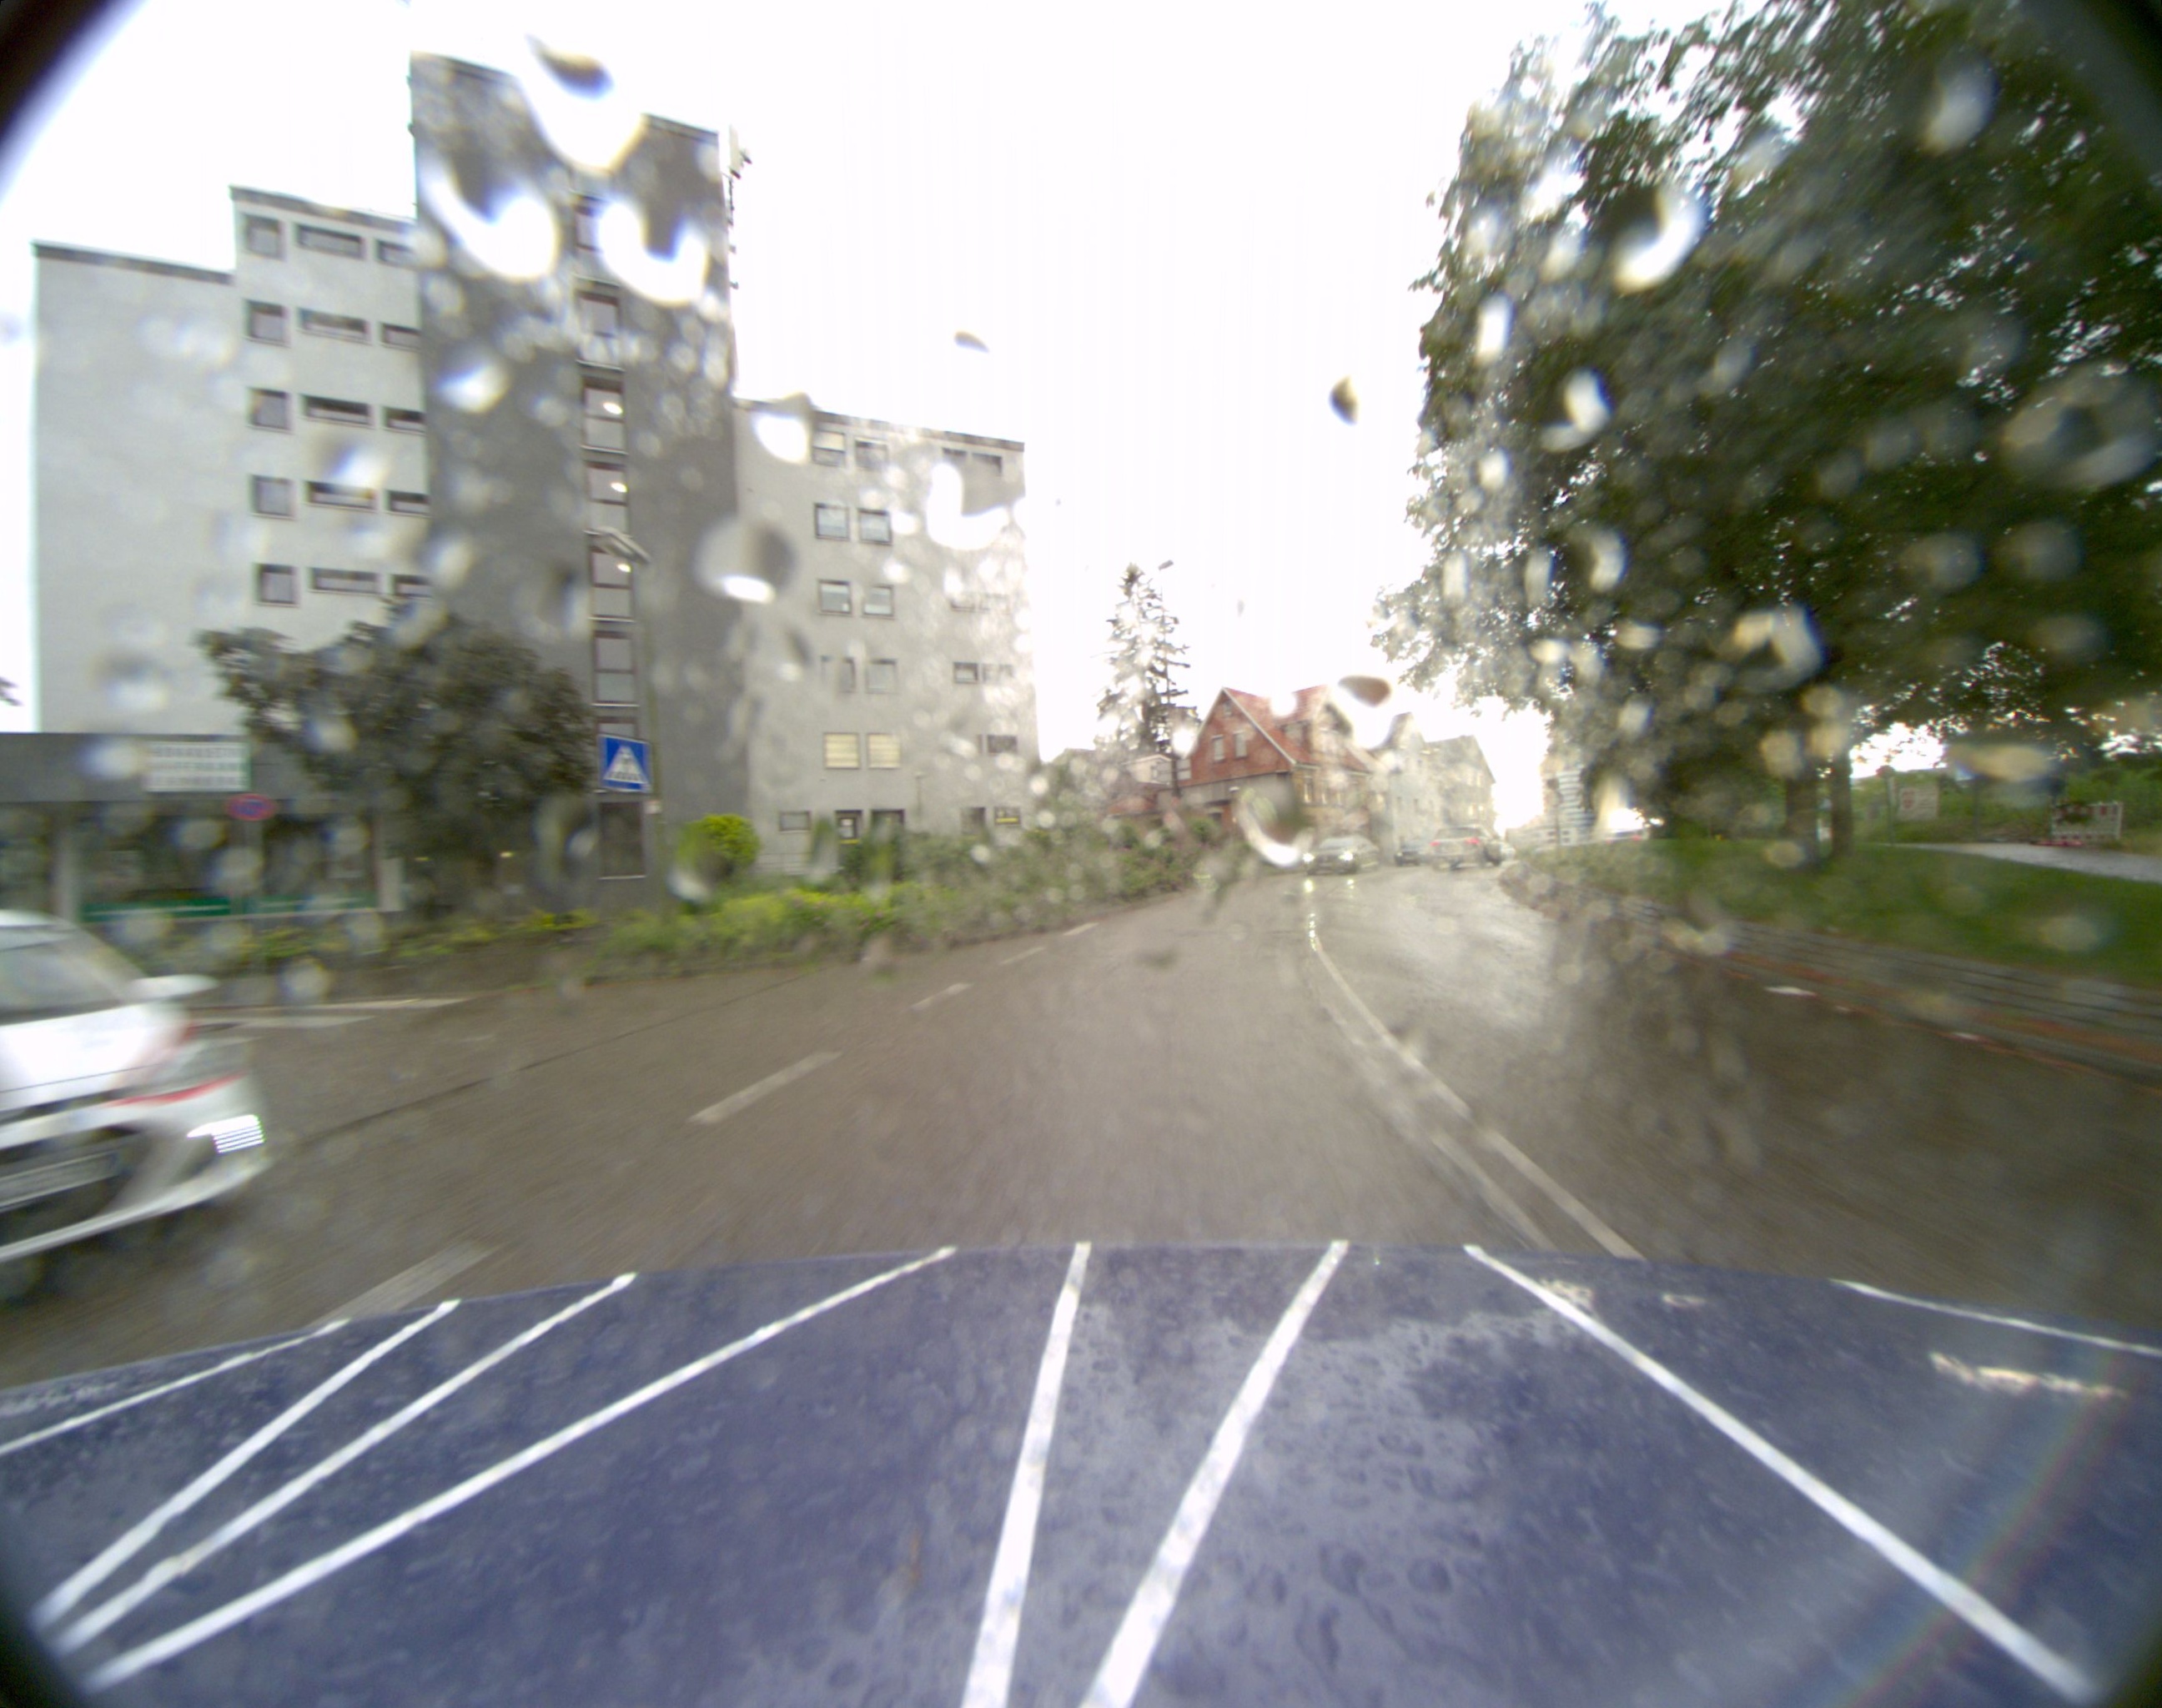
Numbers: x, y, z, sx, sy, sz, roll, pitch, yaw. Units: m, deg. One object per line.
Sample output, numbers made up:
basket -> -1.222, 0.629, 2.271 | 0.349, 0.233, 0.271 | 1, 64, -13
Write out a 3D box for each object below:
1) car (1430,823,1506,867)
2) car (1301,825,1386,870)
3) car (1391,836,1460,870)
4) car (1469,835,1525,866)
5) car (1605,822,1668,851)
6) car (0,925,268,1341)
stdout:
car -> 14.723, -0.370, 28.796 | 1.728, 1.534, 4.308 | -1, 2, 38
car -> 10.477, -0.177, 30.103 | 1.835, 1.504, 4.859 | -7, -5, 34
car -> 17.164, 0.019, 37.735 | 1.787, 1.338, 4.957 | -6, -6, 39
car -> 27.160, -0.181, 49.547 | 1.897, 1.647, 4.957 | -6, -7, 43
car -> 32.861, -1.064, 44.895 | 4.265, 1.496, 1.725 | -3, -1, -36
car -> -5.749, 1.124, 3.312 | 3.755, 1.444, 1.715 | -3, 0, 22
